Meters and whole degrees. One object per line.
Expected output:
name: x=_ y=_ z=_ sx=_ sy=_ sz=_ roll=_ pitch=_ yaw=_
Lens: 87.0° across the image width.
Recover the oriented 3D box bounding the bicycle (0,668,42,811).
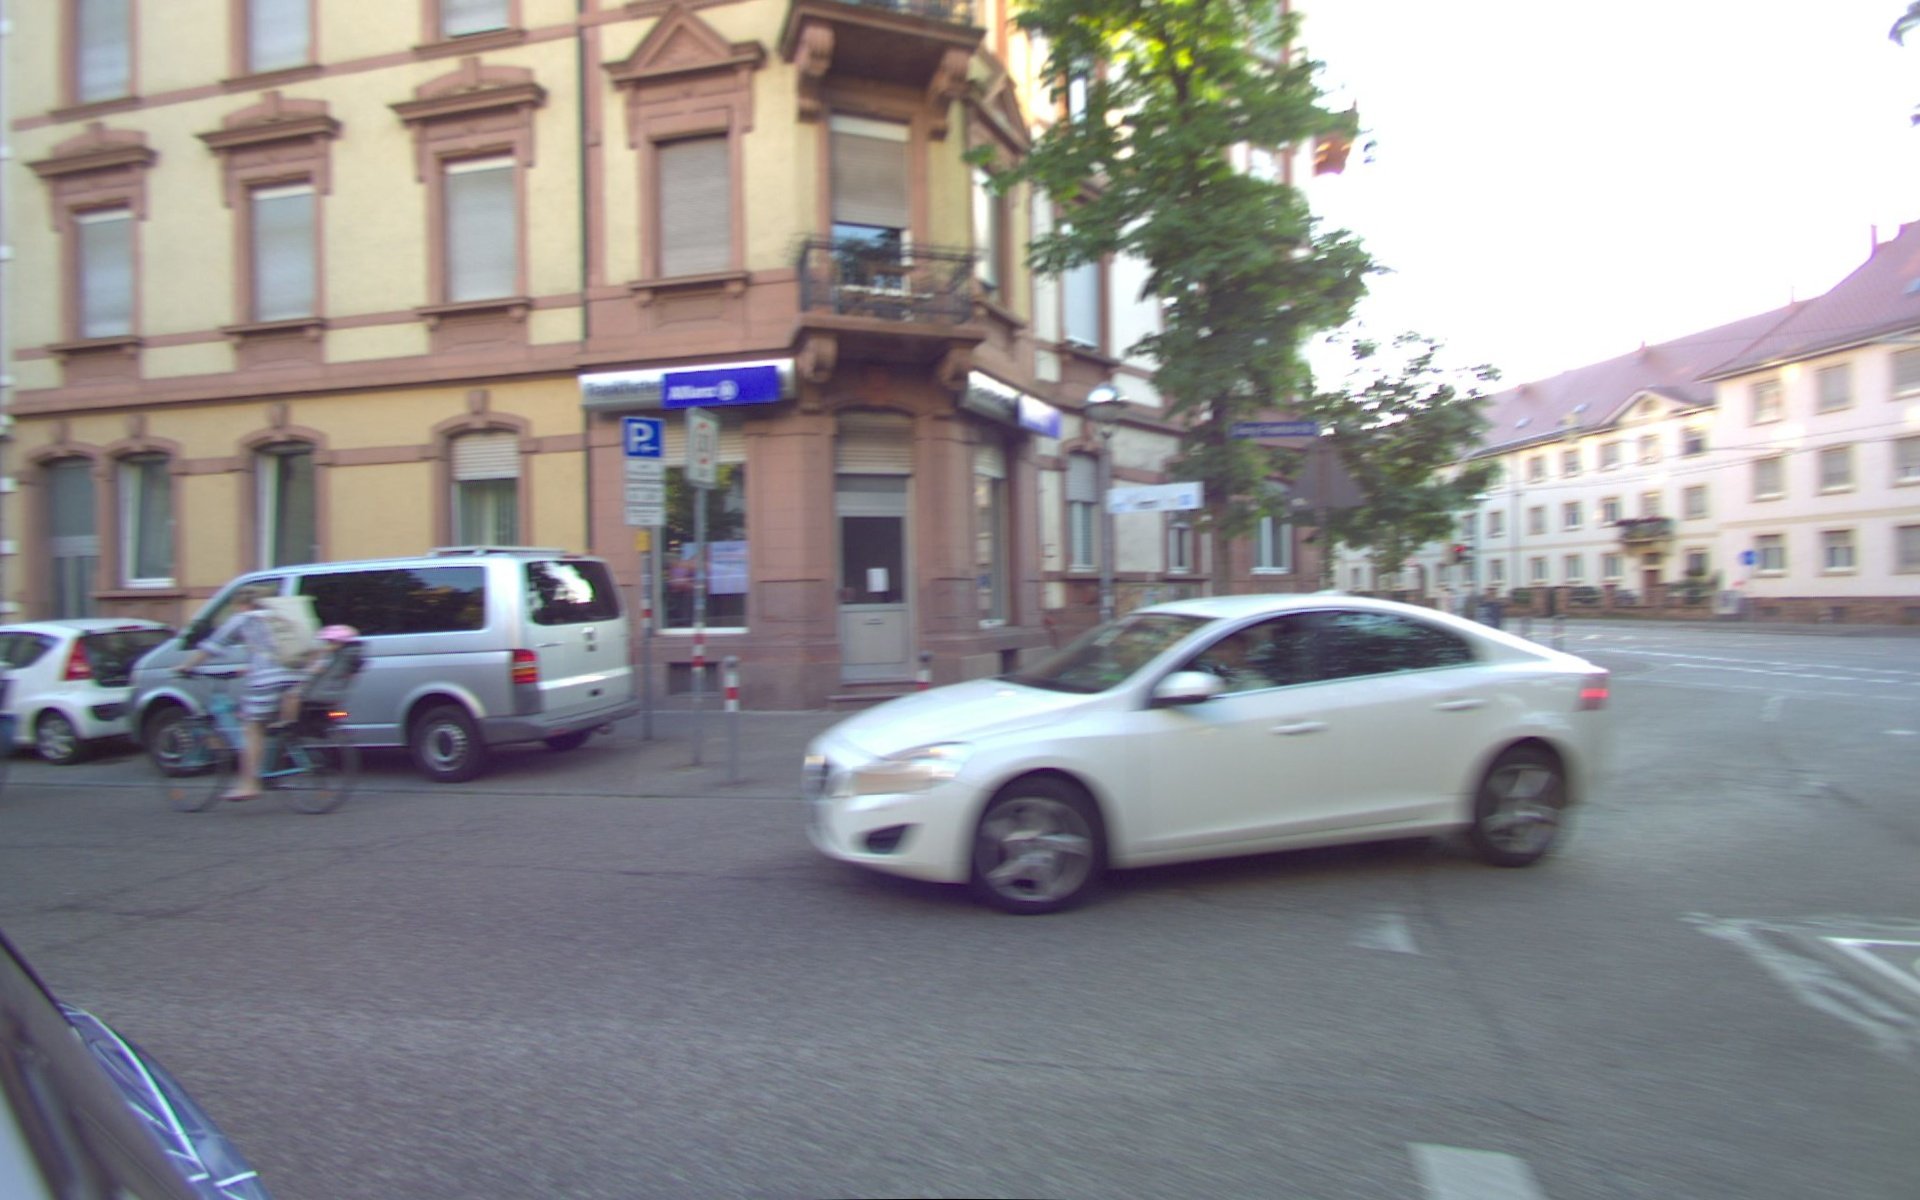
bicycle: x=-8.534 y=1.127 z=8.014 sx=2.023 sy=1.103 sz=0.728 roll=-1 pitch=-1 yaw=6

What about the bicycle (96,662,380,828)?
bicycle: x=-5.315 y=1.040 z=7.479 sx=1.790 sy=1.103 sz=0.683 roll=-1 pitch=-1 yaw=12

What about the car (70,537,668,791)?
car: x=-5.616 y=0.555 z=9.825 sx=4.956 sy=2.072 sz=2.039 roll=-1 pitch=1 yaw=14

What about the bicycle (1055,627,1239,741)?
bicycle: x=1.913 y=0.851 z=10.481 sx=1.773 sy=1.091 sz=0.560 roll=-1 pitch=1 yaw=1

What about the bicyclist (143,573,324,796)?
bicyclist: x=-5.352 y=0.599 z=7.488 sx=0.866 sy=1.556 sz=0.676 roll=-1 pitch=-1 yaw=11

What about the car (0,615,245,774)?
car: x=-10.167 y=0.997 z=11.207 sx=3.576 sy=1.502 sz=1.683 roll=-2 pitch=1 yaw=12

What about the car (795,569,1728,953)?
car: x=1.595 y=0.652 z=5.797 sx=4.758 sy=1.528 sz=2.006 roll=-1 pitch=-1 yaw=-17
